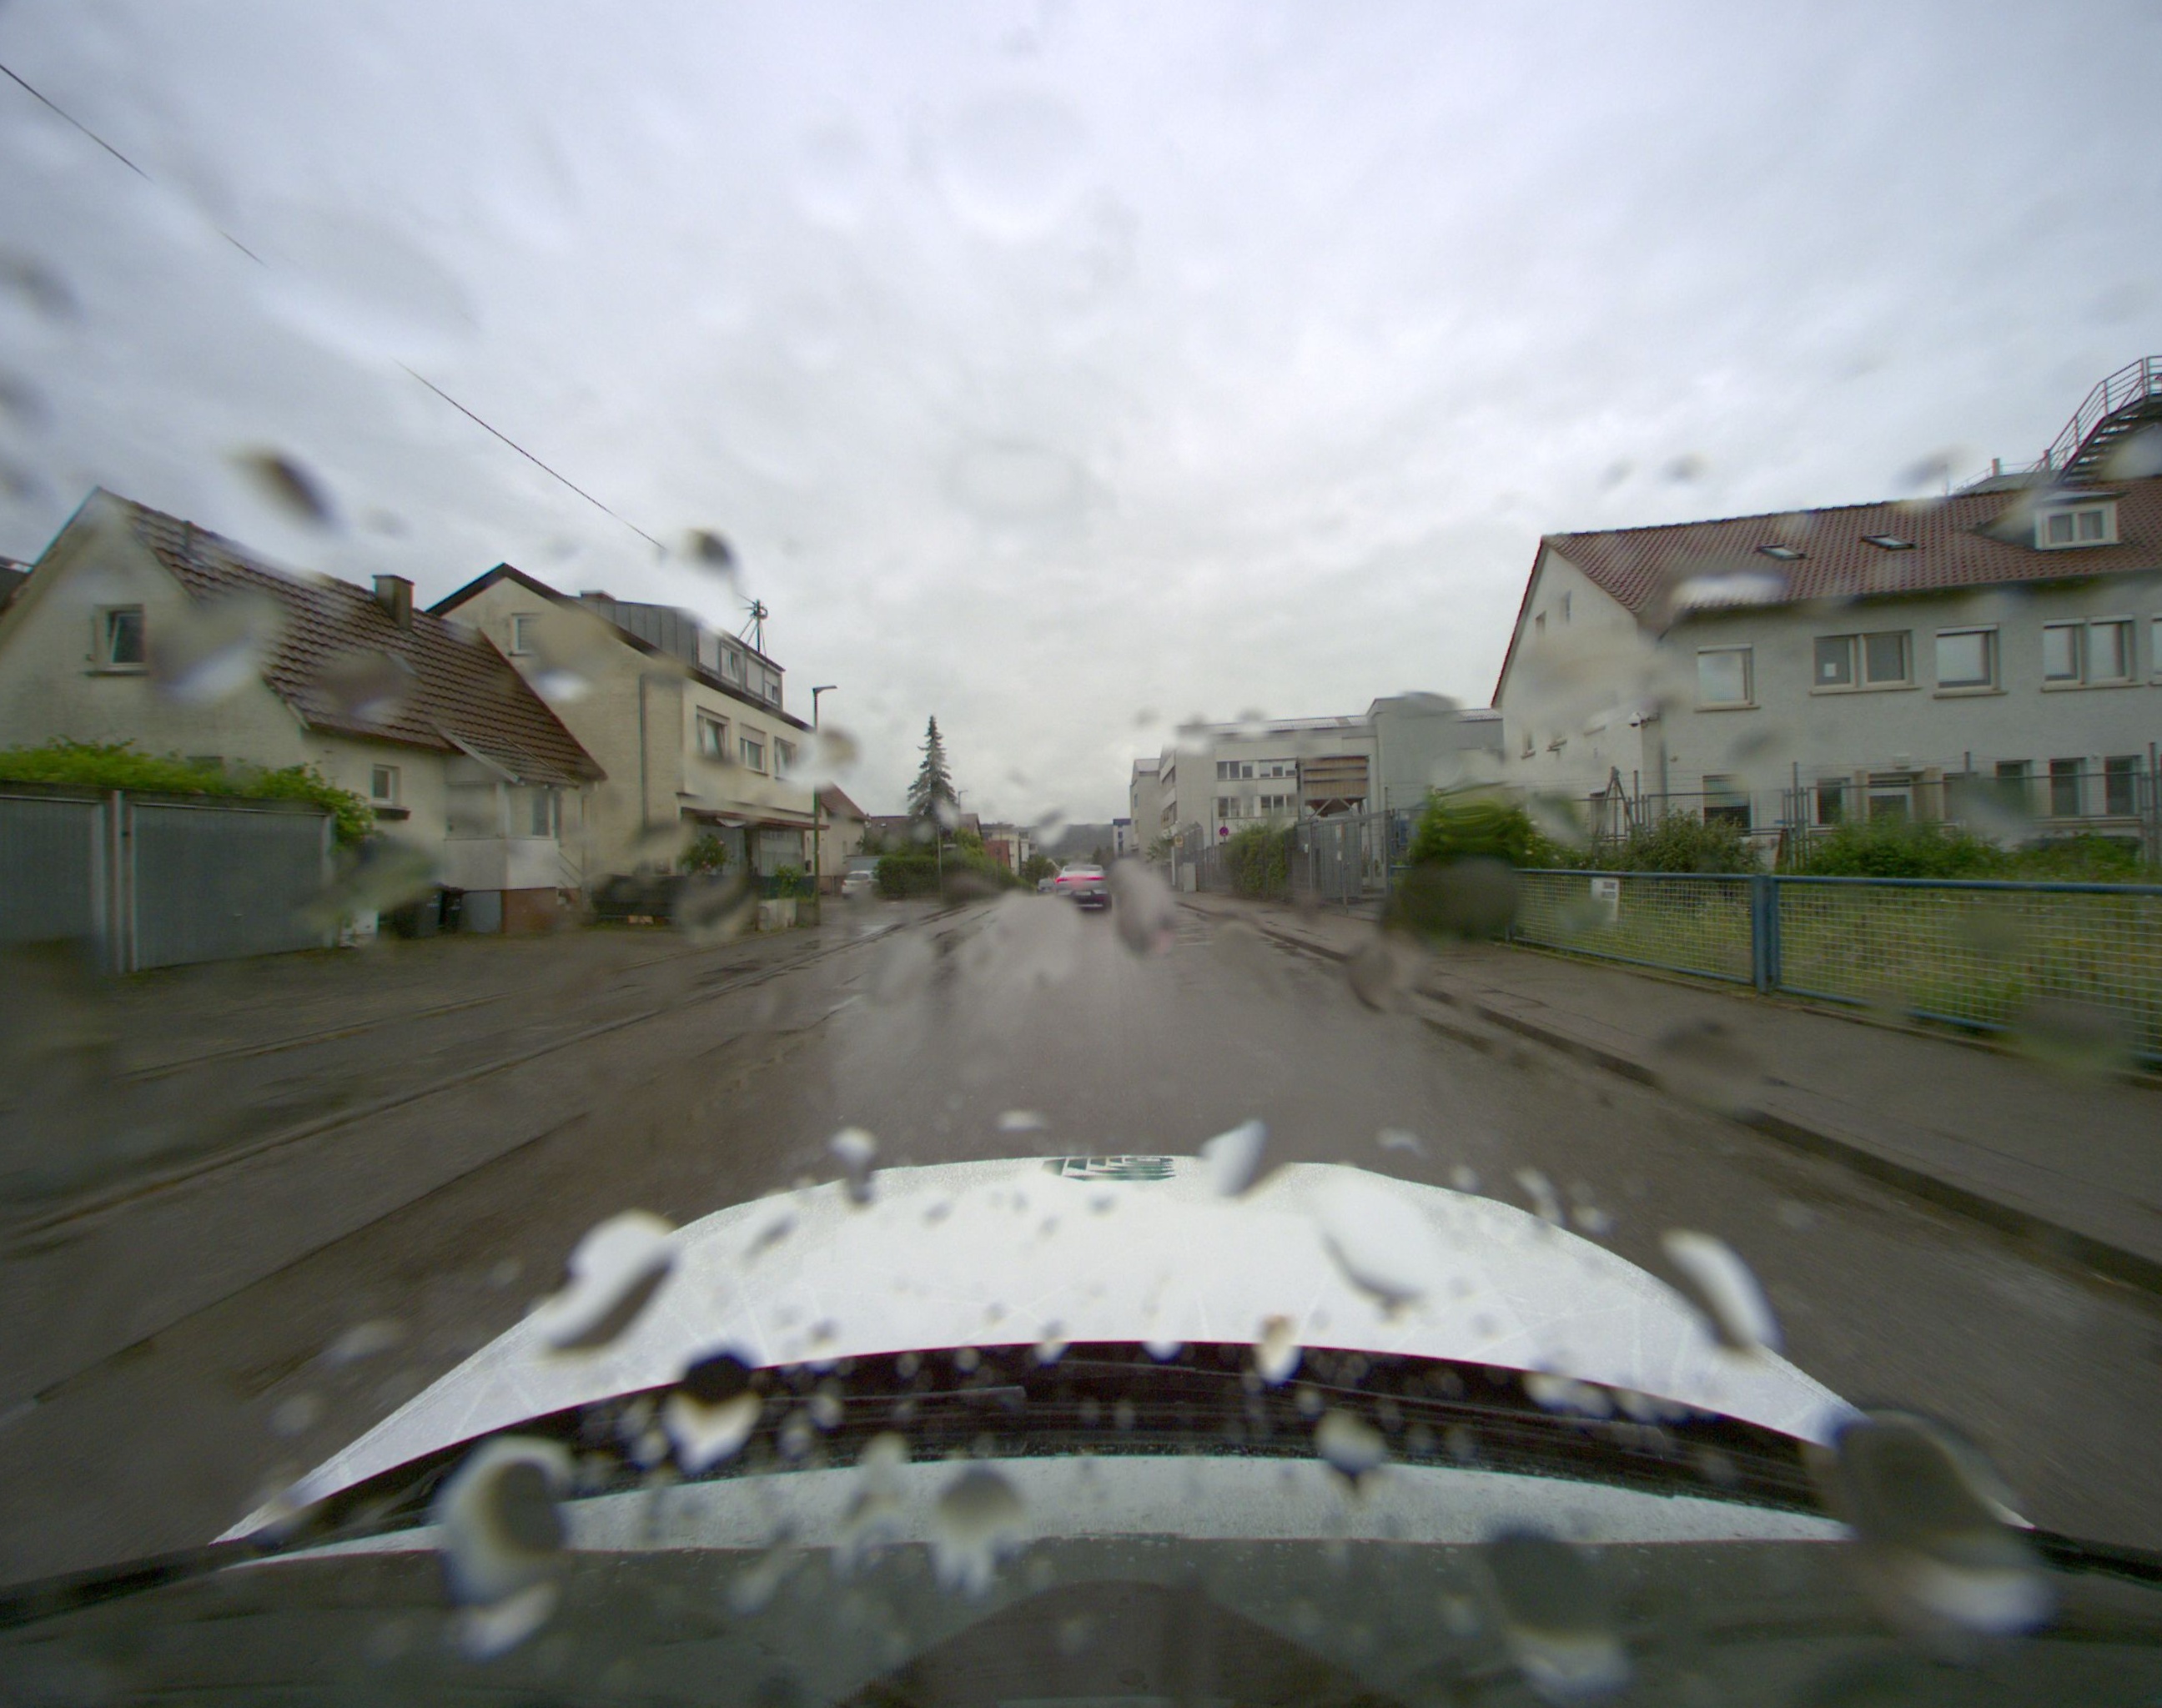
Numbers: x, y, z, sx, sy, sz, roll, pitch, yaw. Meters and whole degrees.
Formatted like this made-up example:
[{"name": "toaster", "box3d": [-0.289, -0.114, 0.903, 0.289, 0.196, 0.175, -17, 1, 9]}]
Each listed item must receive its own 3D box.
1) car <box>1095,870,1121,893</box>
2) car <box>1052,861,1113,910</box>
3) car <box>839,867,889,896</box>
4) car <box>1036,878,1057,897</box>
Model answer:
[{"name": "car", "box3d": [2.536, 2.689, 77.469, 1.989, 2.014, 3.994, -2, -3, -3]}, {"name": "car", "box3d": [0.092, 1.069, 29.036, 1.986, 1.502, 4.671, -1, 0, 1]}, {"name": "car", "box3d": [-12.638, 1.570, 47.687, 1.788, 1.508, 3.999, -1, 0, 0]}, {"name": "car", "box3d": [-3.003, 2.914, 71.113, 1.671, 1.528, 3.998, -1, -2, -1]}]
